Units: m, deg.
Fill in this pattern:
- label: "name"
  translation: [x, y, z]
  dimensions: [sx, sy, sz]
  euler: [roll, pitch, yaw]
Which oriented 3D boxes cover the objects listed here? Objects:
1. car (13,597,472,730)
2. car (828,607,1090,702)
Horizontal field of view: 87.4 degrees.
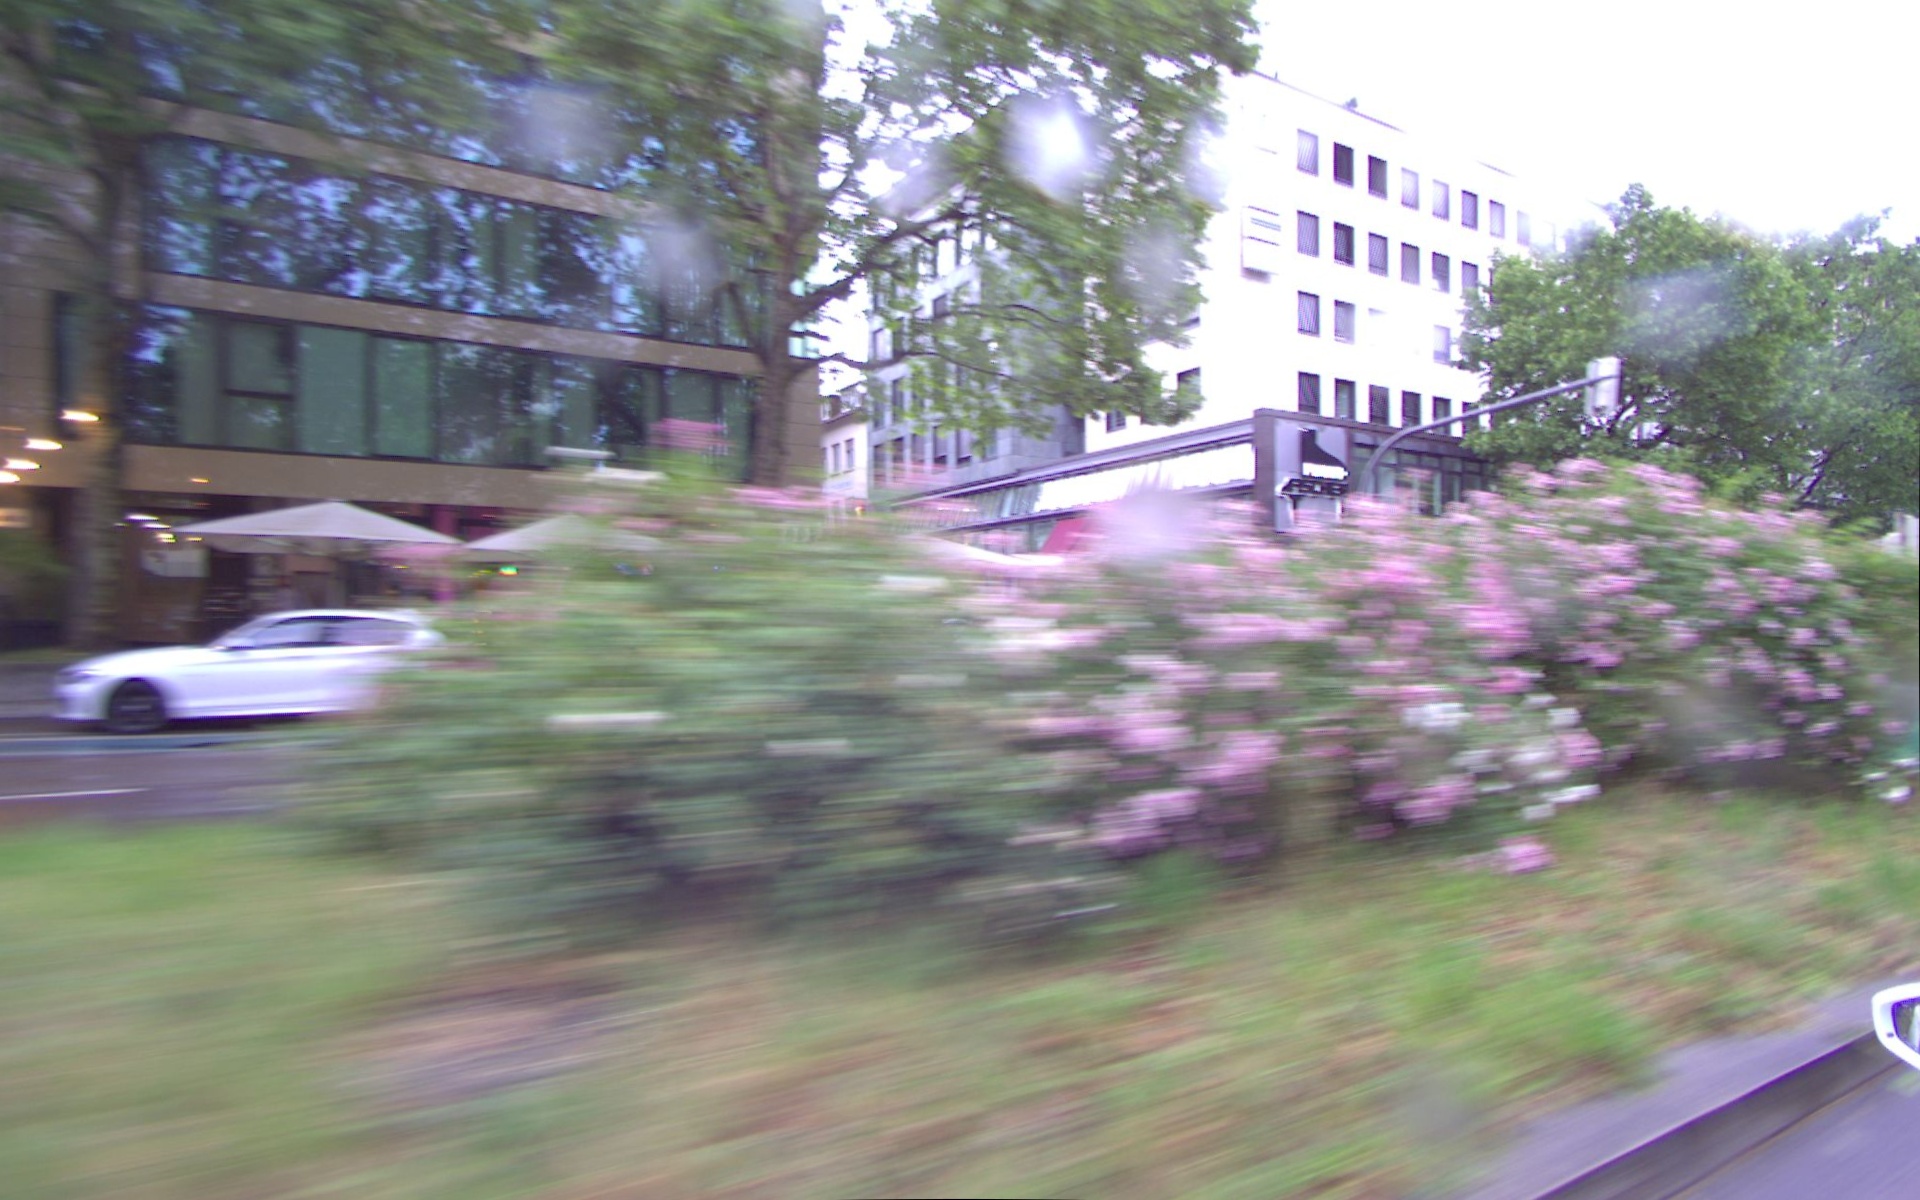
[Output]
- label: "car"
  translation: [-8.821, 0.715, 12.889]
  dimensions: [4.486, 1.388, 1.984]
  euler: [1, 2, -30]
- label: "car"
  translation: [0.028, 0.932, 18.370]
  dimensions: [4.468, 1.529, 1.982]
  euler: [1, -1, -33]
